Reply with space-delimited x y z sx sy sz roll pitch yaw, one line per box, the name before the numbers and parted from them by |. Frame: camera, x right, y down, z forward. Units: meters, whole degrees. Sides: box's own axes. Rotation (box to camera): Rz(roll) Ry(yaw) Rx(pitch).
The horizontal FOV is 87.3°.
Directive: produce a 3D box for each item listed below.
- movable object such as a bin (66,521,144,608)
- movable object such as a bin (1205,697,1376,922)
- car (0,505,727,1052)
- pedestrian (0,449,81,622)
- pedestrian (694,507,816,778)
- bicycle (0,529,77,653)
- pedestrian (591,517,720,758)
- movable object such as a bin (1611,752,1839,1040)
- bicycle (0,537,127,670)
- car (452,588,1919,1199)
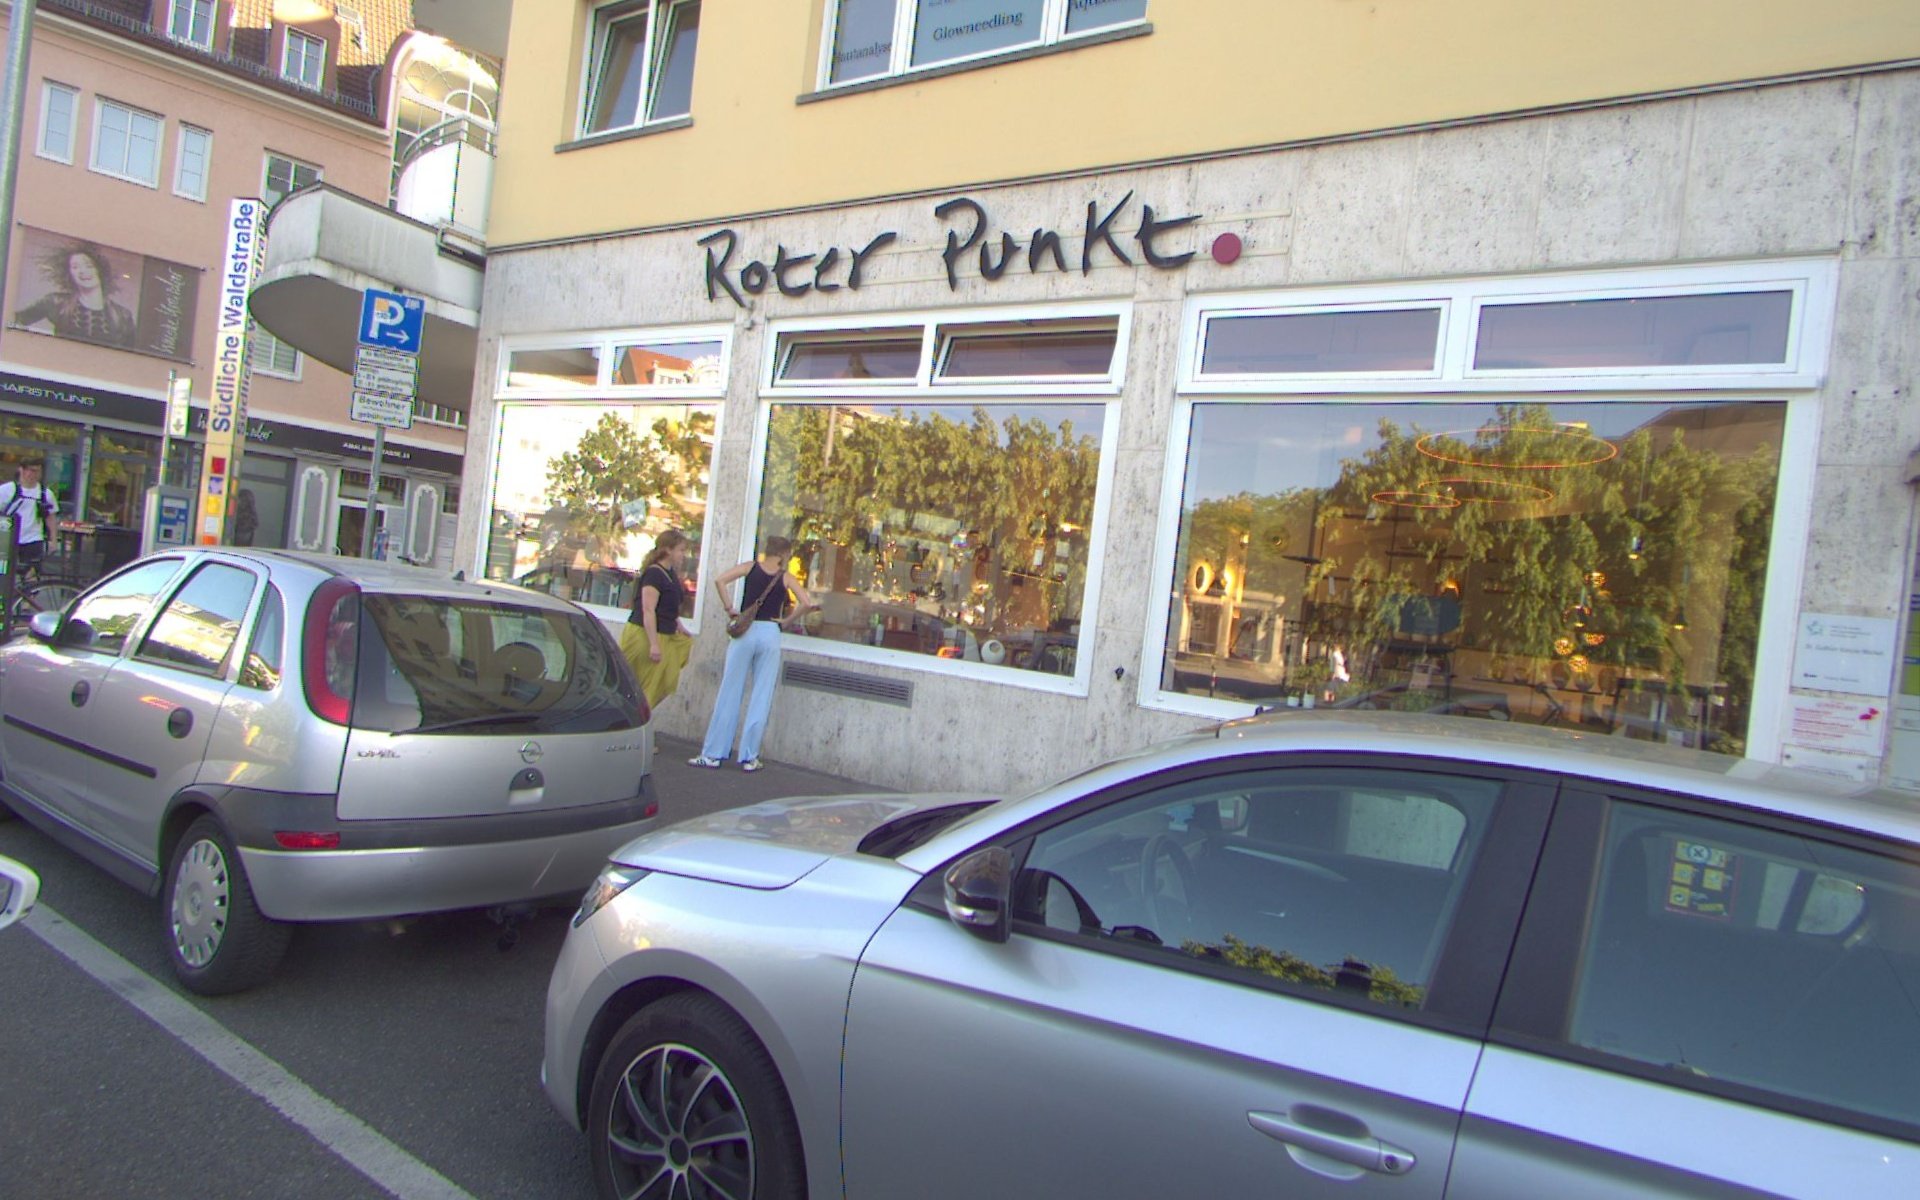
movable object such as a bin | -11.955 -0.491 14.066 0.716 1.117 0.636 7 2 35
movable object such as a bin | 1.814 1.093 5.485 0.639 1.035 0.738 6 -1 31
car | -2.955 0.482 4.462 3.520 1.443 1.587 6 -2 32
pedestrian | -10.798 -0.745 11.451 0.967 1.844 0.809 6 -1 35
pedestrian | -1.550 0.297 7.494 0.672 1.874 0.890 4 2 -18
bicycle | -9.055 -0.153 8.799 0.642 1.072 1.816 7 -1 33
pedestrian | -2.412 0.290 7.928 0.777 1.777 0.719 4 2 -23
movable object such as a bin | 3.396 1.265 4.535 0.639 1.035 0.738 6 -1 31
bicycle | -8.164 0.001 8.254 0.642 1.057 1.884 7 0 33
car | 0.781 0.941 2.282 3.624 1.453 1.587 6 -2 30
